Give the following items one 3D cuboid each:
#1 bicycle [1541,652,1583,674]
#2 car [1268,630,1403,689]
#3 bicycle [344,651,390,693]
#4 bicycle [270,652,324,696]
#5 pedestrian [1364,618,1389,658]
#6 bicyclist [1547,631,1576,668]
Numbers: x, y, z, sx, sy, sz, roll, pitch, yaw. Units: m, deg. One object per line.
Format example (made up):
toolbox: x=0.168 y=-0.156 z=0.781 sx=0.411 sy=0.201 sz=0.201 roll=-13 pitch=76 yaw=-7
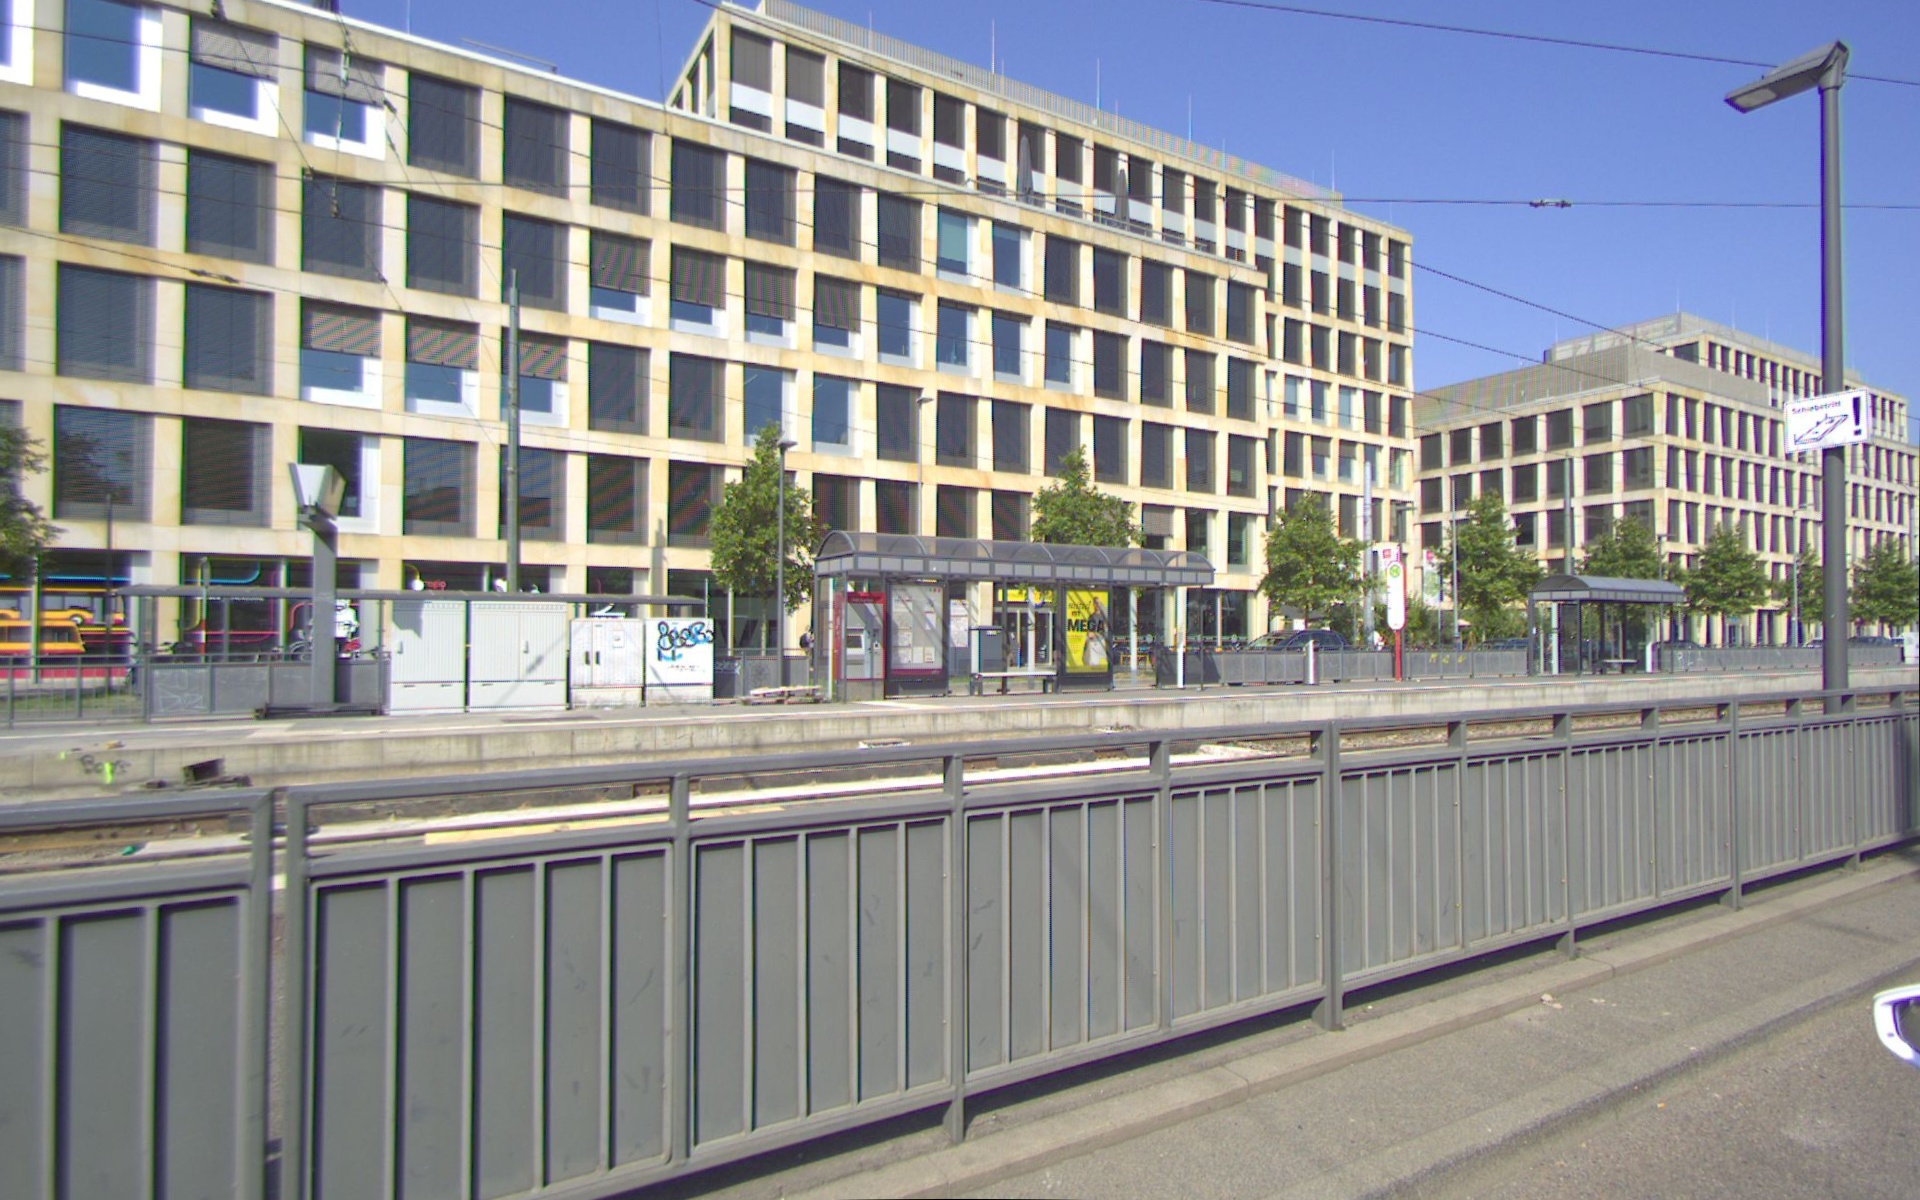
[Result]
bicycle: x=24.338 y=2.550 z=40.612 sx=1.876 sy=0.832 sz=0.626 roll=3 pitch=-6 yaw=-31
car: x=10.753 y=1.674 z=28.747 sx=3.715 sy=1.591 sz=1.654 roll=1 pitch=-2 yaw=-30
bicycle: x=-14.829 y=1.771 z=25.100 sx=0.935 sy=0.980 sz=2.417 roll=1 pitch=-2 yaw=-32
bicycle: x=-16.015 y=1.756 z=24.314 sx=1.009 sy=0.980 sz=2.417 roll=1 pitch=-2 yaw=-32
pedestrian: x=20.671 y=1.881 z=49.859 sx=0.830 sy=1.941 sz=0.788 roll=3 pitch=-6 yaw=-36
bicyclist: x=24.354 y=2.012 z=40.669 sx=0.775 sy=1.420 sz=0.626 roll=3 pitch=-6 yaw=-31
